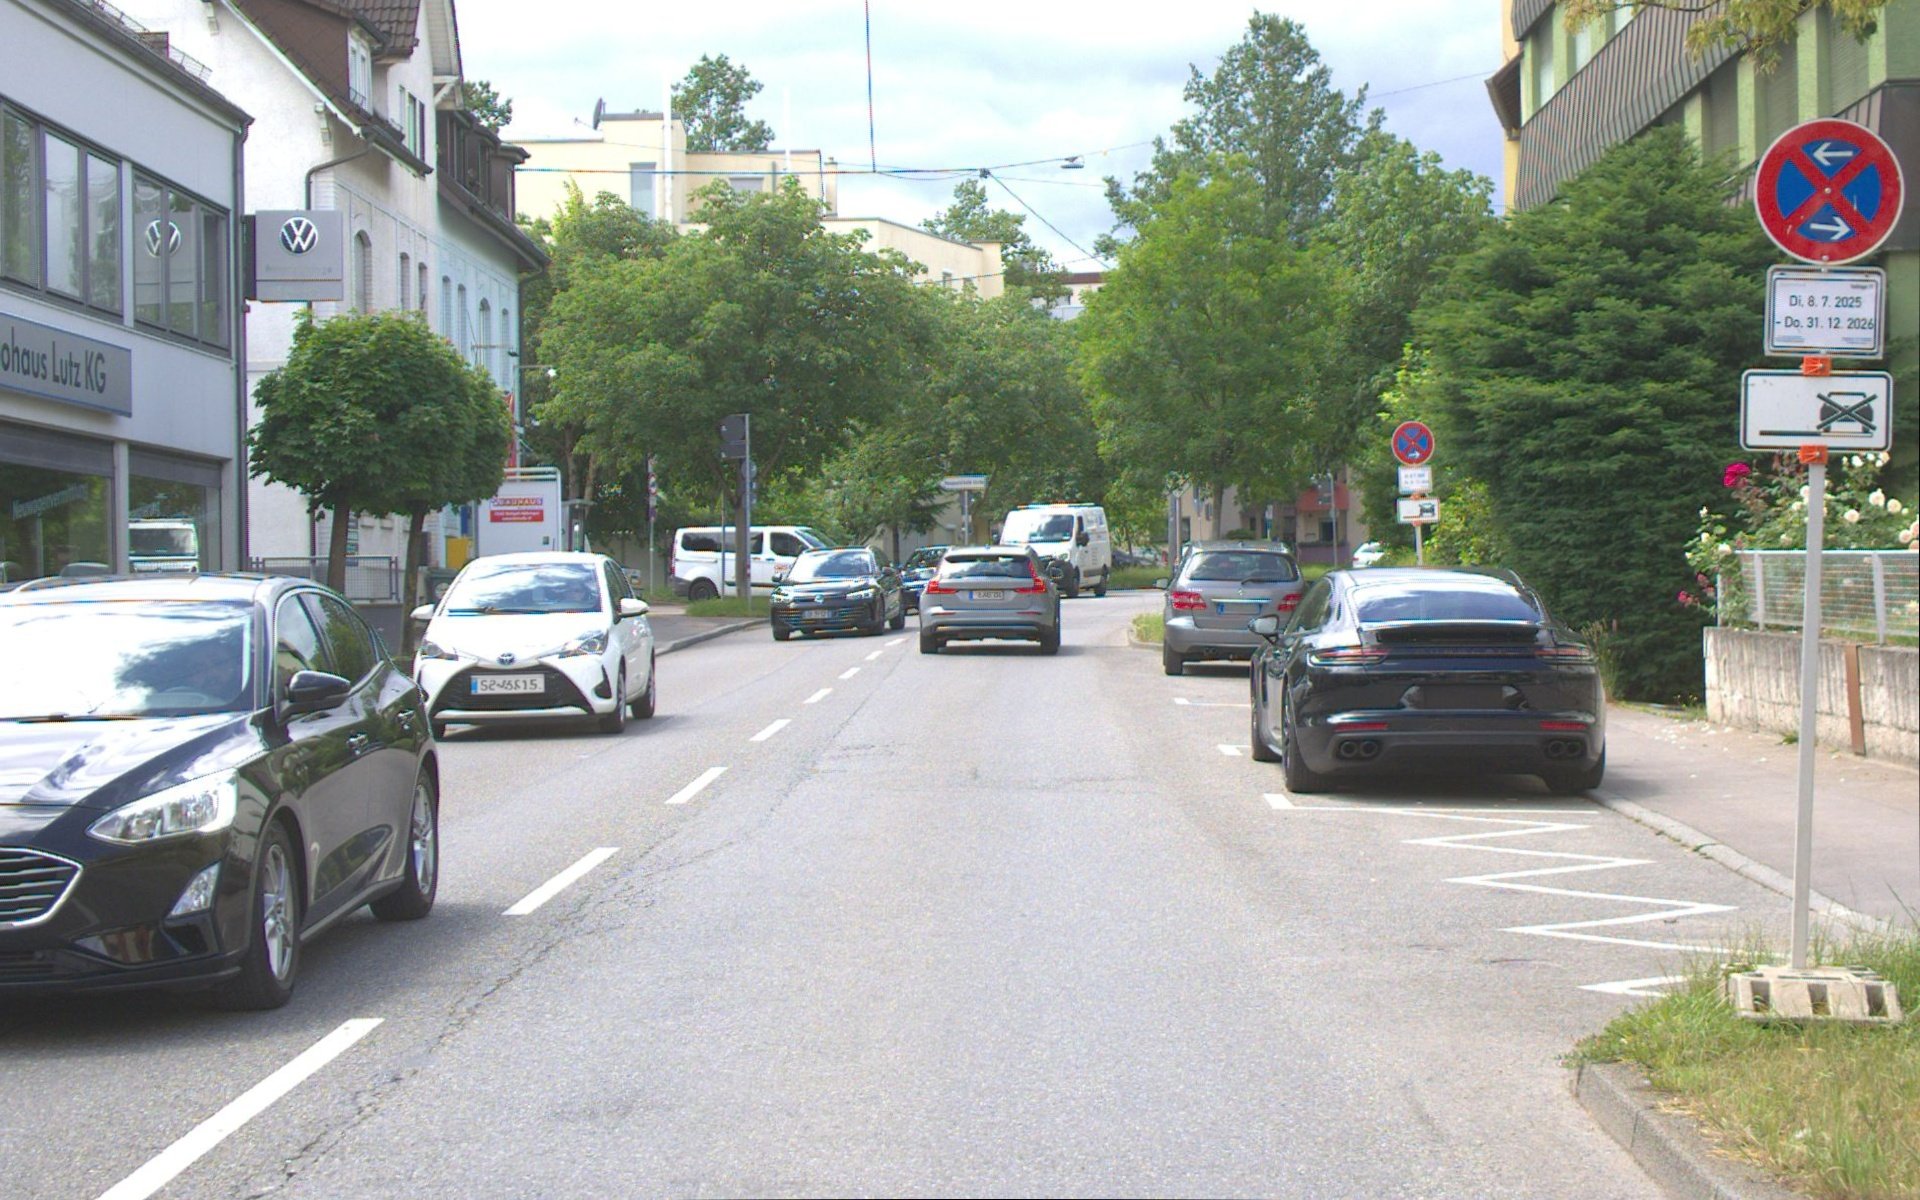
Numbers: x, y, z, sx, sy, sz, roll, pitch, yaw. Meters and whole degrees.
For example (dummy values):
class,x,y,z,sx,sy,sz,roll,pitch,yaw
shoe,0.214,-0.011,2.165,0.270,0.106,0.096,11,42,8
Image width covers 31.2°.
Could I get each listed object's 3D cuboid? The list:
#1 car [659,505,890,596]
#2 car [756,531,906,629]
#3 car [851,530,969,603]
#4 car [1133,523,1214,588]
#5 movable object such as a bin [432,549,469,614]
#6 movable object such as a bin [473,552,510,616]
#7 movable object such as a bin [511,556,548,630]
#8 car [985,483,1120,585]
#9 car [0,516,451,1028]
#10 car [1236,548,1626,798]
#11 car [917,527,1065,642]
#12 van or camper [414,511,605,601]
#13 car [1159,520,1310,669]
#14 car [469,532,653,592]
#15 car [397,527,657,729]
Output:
class,x,y,z,sx,sy,sz,roll,pitch,yaw
car,-4.592,-1.227,85.053,5.217,1.987,2.107,-2,1,19
car,-2.120,-0.370,57.917,1.776,1.518,4.461,-2,1,7
car,-1.010,-0.716,71.542,1.771,1.420,4.108,-2,1,8
car,5.127,-1.067,83.042,1.614,1.518,3.570,-1,0,-2
movable object such as a bin,-8.852,-0.319,59.752,0.564,1.097,0.563,2,0,-3
movable object such as a bin,-8.147,-0.276,59.812,0.564,1.097,0.563,2,0,-3
movable object such as a bin,-7.502,-0.122,59.882,0.564,1.268,0.563,2,1,-3
car,2.361,-1.689,86.041,2.064,2.345,5.179,-3,1,16
car,-3.079,0.509,12.333,1.831,1.518,4.171,-1,0,1
car,2.961,0.417,22.608,1.984,1.443,4.751,-1,0,1
car,0.398,-0.233,47.742,1.956,1.518,4.329,0,1,0
van or camper,-10.257,-0.971,78.560,1.788,1.987,4.370,0,0,37
car,3.298,-0.117,41.908,1.690,1.660,4.462,-1,2,3
car,-9.620,-0.912,82.940,4.019,1.408,1.814,0,0,14
car,-3.599,0.213,29.147,1.690,1.574,3.800,-1,0,0
